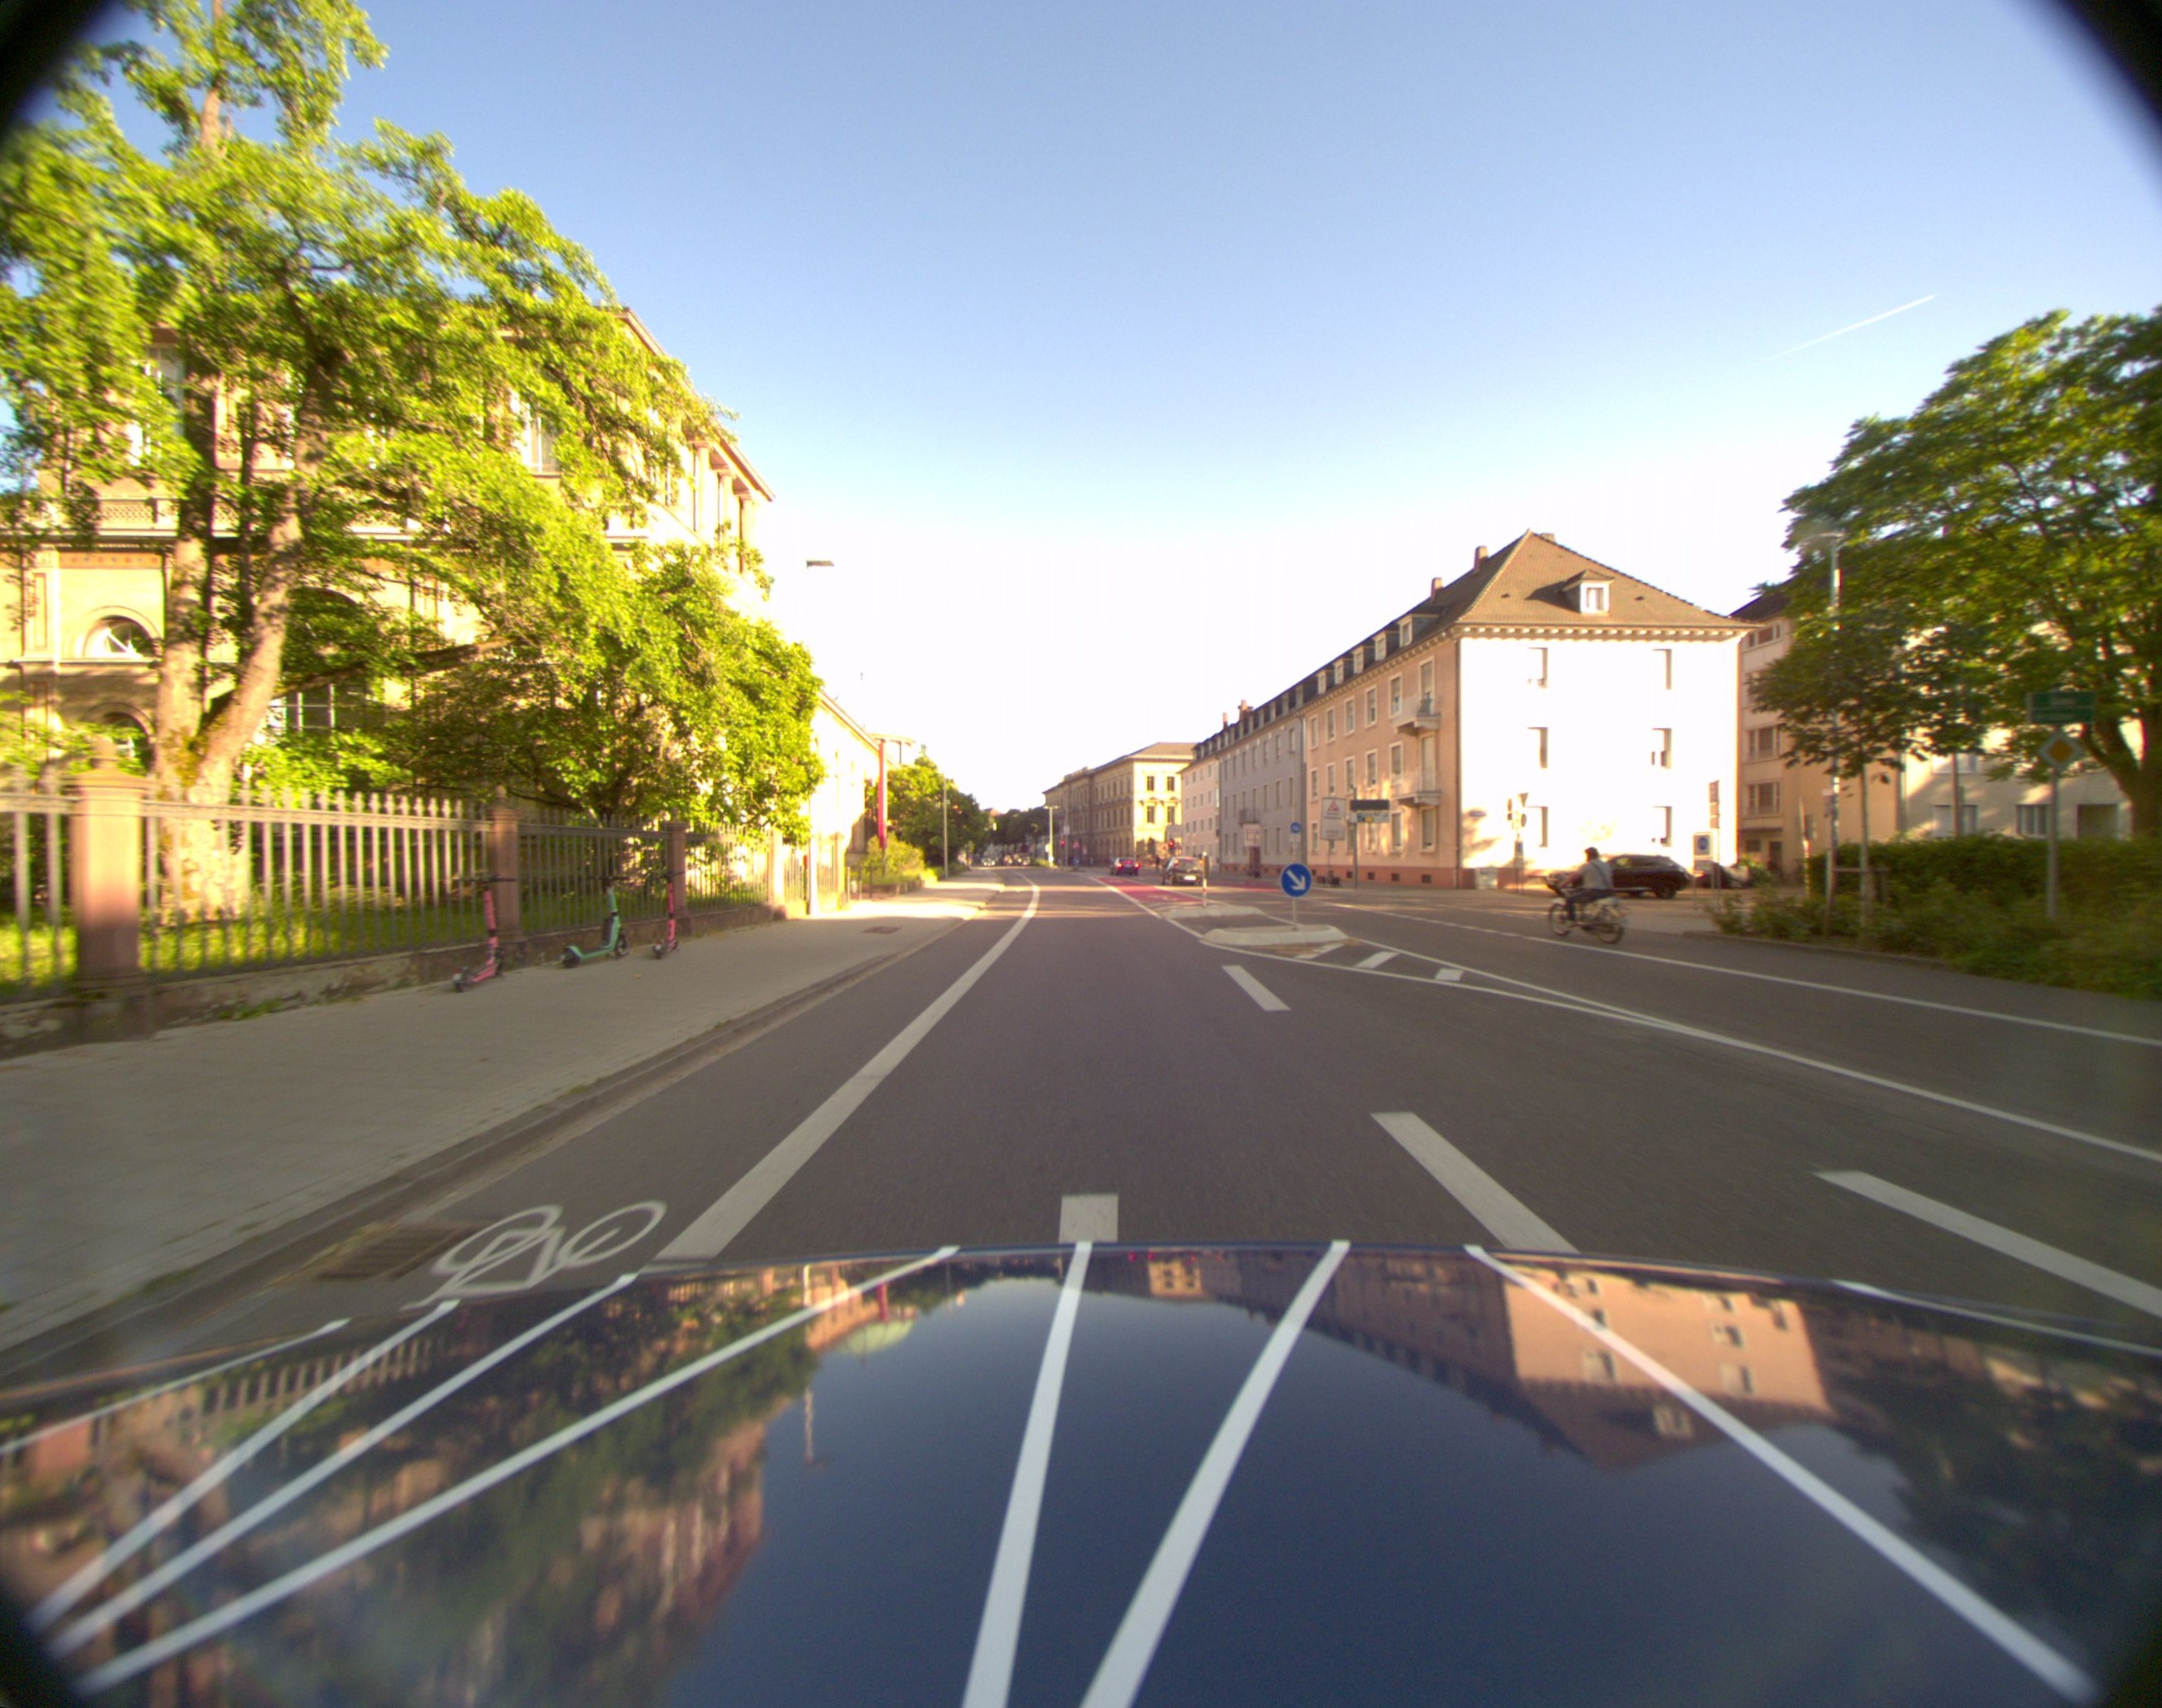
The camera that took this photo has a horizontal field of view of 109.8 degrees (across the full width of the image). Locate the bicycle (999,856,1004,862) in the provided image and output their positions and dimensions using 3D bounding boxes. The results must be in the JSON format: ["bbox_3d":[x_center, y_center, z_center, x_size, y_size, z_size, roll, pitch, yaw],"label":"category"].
[{"bbox_3d":[-13.295,0.866,127.031,0.671,1.066,1.751,-1,0,-13],"label":"bicycle"}]

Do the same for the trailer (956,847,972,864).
[{"bbox_3d":[-18.099,0.312,117.210,2.087,2.513,4.487,2,0,-12],"label":"trailer"}]

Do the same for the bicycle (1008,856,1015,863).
[{"bbox_3d":[-10.732,0.852,117.579,0.831,1.136,1.967,-1,0,-11],"label":"bicycle"}]

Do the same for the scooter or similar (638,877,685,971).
[{"bbox_3d":[-6.006,0.969,10.912,0.298,1.233,1.159,0,0,-14],"label":"scooter or similar"}]

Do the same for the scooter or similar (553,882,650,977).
[{"bbox_3d":[-6.324,0.963,10.088,0.482,1.116,1.336,1,0,-2],"label":"scooter or similar"}]

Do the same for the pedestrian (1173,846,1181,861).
[{"bbox_3d":[10.410,-0.006,82.105,0.633,1.574,0.817,-3,1,-6],"label":"pedestrian"}]

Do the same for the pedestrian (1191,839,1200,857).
[{"bbox_3d":[12.126,-0.651,80.553,0.633,1.836,1.012,-3,1,-6],"label":"pedestrian"}]

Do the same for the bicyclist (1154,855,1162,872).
[{"bbox_3d":[7.841,0.954,77.300,0.637,1.700,0.738,3,0,-2],"label":"bicyclist"}]

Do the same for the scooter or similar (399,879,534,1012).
[{"bbox_3d":[-6.550,0.915,8.186,0.550,1.235,1.555,0,0,-15],"label":"scooter or similar"}]

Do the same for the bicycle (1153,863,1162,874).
[{"bbox_3d":[7.810,1.465,77.405,0.648,0.990,2.109,1,0,-2],"label":"bicycle"}]

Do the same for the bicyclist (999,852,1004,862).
[{"bbox_3d":[-13.308,0.559,127.057,0.675,1.643,0.886,-1,1,-13],"label":"bicyclist"}]

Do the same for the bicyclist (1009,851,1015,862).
[{"bbox_3d":[-10.736,0.390,117.604,0.805,1.598,0.824,0,0,-11],"label":"bicyclist"}]

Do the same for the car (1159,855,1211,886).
[{"bbox_3d":[5.026,0.781,37.293,1.763,1.450,3.998,0,0,-4],"label":"car"}]

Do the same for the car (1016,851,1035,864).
[{"bbox_3d":[-8.781,0.506,119.514,2.076,1.904,5.026,0,0,-15],"label":"car"}]

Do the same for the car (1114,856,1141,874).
[{"bbox_3d":[3.681,0.830,60.761,1.816,1.411,4.554,0,0,-1],"label":"car"}]

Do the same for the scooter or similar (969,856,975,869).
[{"bbox_3d":[-11.117,0.824,77.313,0.557,1.301,1.831,0,0,-6],"label":"scooter or similar"}]

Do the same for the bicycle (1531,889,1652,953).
[{"bbox_3d":[8.760,1.109,13.163,0.618,0.916,2.179,0,0,0],"label":"bicycle"}]

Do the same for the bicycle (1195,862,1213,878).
[{"bbox_3d":[7.878,1.001,48.760,0.653,0.990,2.108,1,0,-3],"label":"bicycle"}]

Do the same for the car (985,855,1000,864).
[{"bbox_3d":[-14.033,0.905,120.368,1.556,1.288,3.632,3,0,-17],"label":"car"}]

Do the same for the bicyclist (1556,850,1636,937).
[{"bbox_3d":[8.791,0.651,13.007,0.647,1.410,0.971,3,0,0],"label":"bicyclist"}]

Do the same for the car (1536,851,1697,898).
[{"bbox_3d":[20.205,0.752,28.852,4.585,1.668,2.061,0,0,3],"label":"car"}]

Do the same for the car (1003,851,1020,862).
[{"bbox_3d":[-11.881,0.460,129.024,1.999,1.739,4.740,0,0,-16],"label":"car"}]

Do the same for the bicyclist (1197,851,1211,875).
[{"bbox_3d":[7.901,0.571,48.807,0.658,1.476,0.665,3,0,-4],"label":"bicyclist"}]
